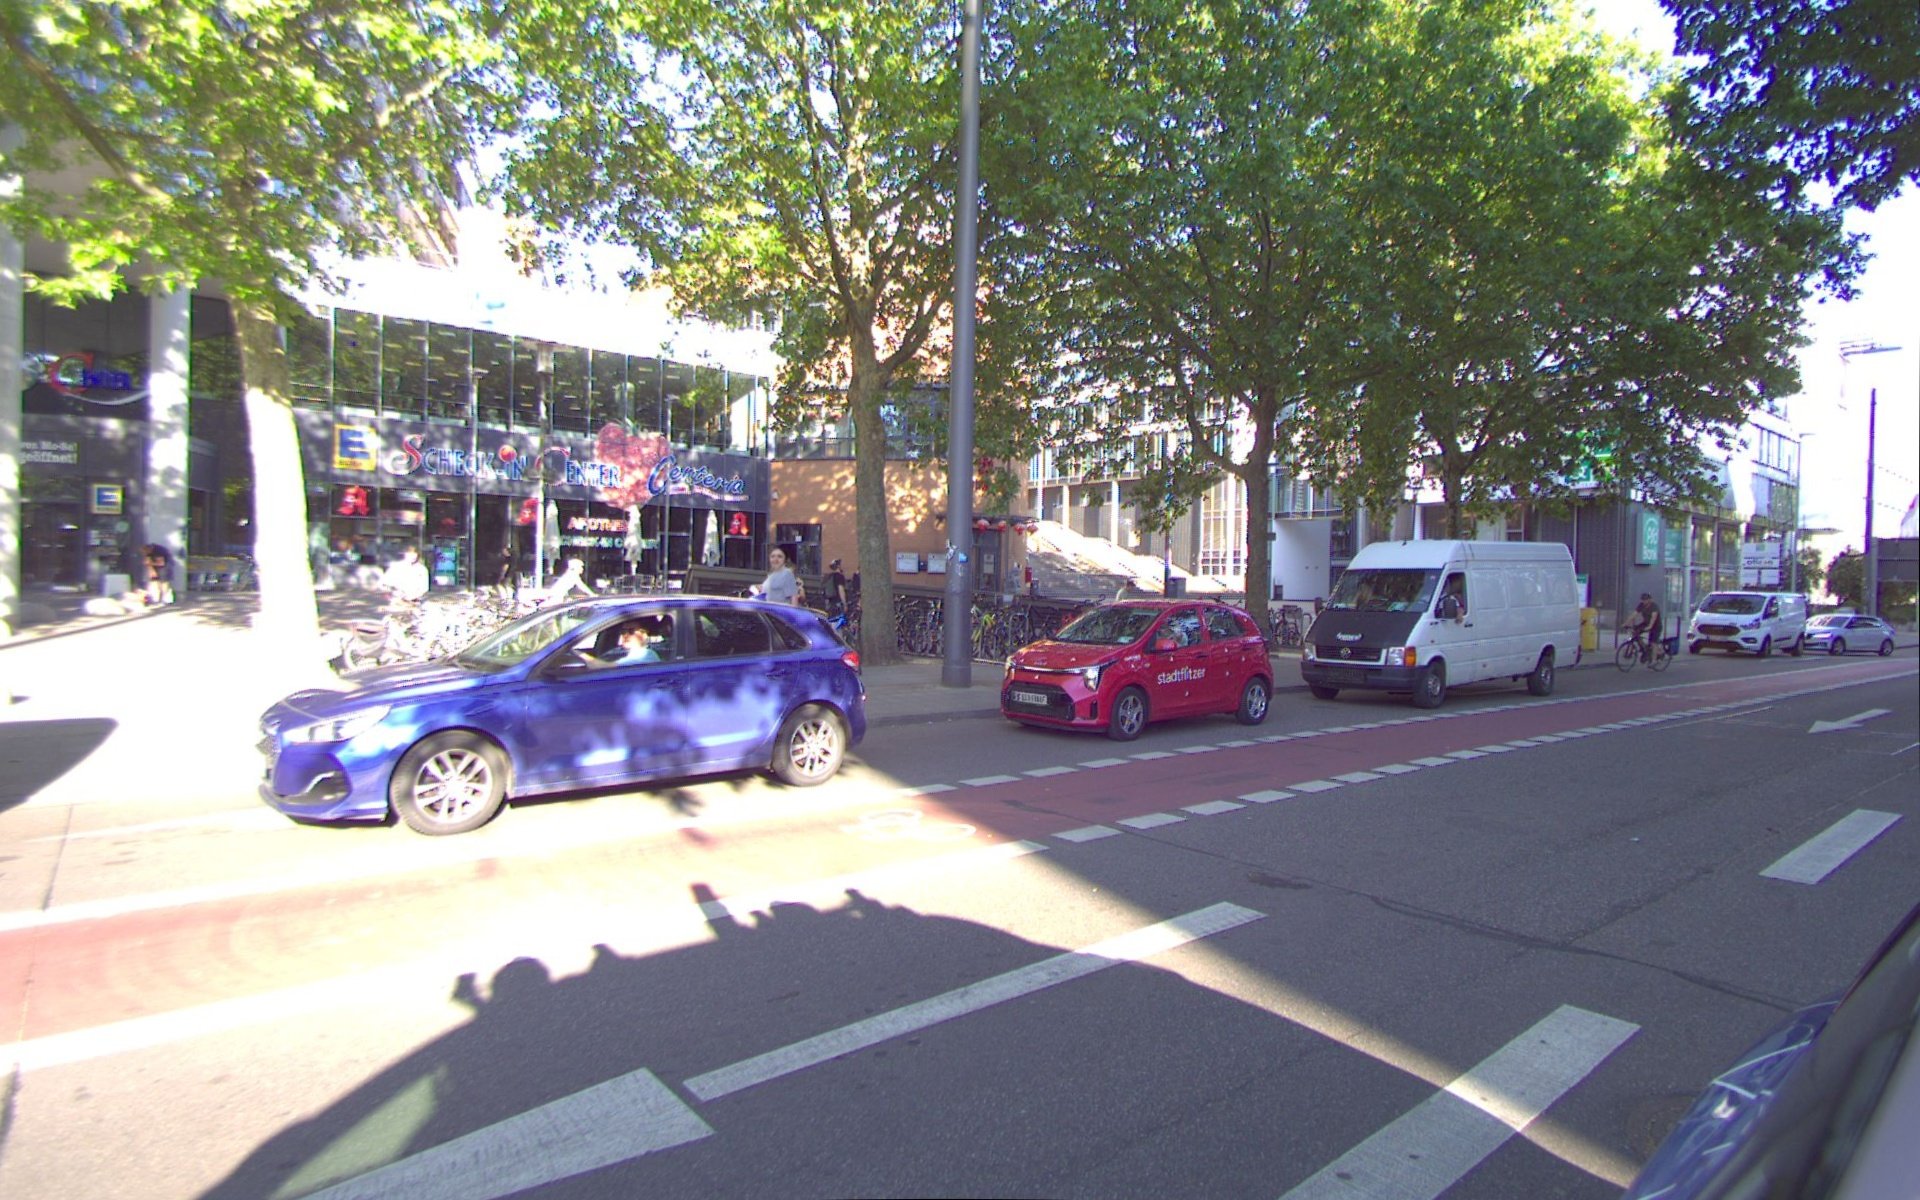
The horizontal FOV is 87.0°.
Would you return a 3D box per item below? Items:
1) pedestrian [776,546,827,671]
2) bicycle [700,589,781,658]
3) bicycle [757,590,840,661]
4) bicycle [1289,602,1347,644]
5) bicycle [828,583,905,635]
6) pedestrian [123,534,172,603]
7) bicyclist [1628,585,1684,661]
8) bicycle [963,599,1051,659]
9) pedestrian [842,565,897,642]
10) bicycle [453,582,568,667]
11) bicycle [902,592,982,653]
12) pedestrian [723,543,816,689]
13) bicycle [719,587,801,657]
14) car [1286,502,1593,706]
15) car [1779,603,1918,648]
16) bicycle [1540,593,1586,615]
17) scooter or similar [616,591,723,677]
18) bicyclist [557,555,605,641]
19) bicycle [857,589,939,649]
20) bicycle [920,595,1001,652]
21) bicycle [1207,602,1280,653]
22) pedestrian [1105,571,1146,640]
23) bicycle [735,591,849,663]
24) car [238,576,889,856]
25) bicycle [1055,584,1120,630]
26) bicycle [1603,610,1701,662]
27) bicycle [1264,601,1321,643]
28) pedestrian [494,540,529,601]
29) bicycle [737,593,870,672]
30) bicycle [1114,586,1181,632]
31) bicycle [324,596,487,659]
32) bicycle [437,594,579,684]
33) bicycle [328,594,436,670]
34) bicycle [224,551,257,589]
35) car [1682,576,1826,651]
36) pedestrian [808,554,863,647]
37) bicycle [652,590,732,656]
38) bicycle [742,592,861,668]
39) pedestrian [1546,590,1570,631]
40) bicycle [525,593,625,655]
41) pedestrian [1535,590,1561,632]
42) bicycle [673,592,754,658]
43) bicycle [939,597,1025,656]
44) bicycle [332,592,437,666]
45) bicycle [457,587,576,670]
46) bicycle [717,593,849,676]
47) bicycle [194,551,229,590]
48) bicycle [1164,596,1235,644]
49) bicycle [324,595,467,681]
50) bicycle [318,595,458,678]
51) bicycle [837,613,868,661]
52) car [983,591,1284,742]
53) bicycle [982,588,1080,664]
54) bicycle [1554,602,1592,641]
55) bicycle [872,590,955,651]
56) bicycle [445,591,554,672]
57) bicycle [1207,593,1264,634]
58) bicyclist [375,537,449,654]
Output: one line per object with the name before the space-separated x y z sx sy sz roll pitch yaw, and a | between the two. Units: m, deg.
pedestrian | -2.371 0.119 15.053 0.644 1.808 0.810 1 1 -14
bicycle | -3.929 0.408 18.186 0.420 1.174 1.455 2 1 41
bicycle | -2.810 0.420 17.698 0.478 1.174 1.455 2 1 41
bicycle | 9.312 0.583 26.317 1.624 1.060 0.597 0 1 -37
bicycle | -2.211 0.209 23.948 1.736 1.174 0.578 1 1 -35
pedestrian | -20.115 -0.778 25.057 0.851 1.661 0.966 1 1 -43
bicyclist | 16.193 0.524 23.564 0.700 1.709 0.754 1 1 -8
bicycle | 0.873 0.517 18.597 1.626 1.044 0.596 0 1 -41
pedestrian | -2.148 0.074 23.959 1.000 1.779 0.789 1 1 -35
bicycle | -6.494 0.337 14.666 1.451 1.174 0.421 0 1 -42
bicycle | -0.337 0.433 20.061 1.626 1.151 0.503 0 1 -41
pedestrian | -2.487 0.185 13.197 0.872 1.808 0.796 2 1 43
bicycle | -3.518 0.374 17.886 0.420 1.174 1.455 2 1 41
car | 8.024 0.057 16.537 6.443 2.759 1.998 0 0 -39
car | 30.995 0.900 35.322 3.936 1.437 1.791 1 1 -17
bicycle | 30.930 0.195 51.932 0.687 1.076 1.879 1 2 -38
scooter or similar | -4.213 0.484 14.676 1.249 1.156 0.905 -2 0 37
bicyclist | -7.332 -0.039 19.553 0.804 1.636 0.565 1 1 -25
bicycle | -1.255 0.371 20.623 1.662 1.174 0.479 1 1 -37
bicycle | 0.024 0.445 19.611 1.626 1.044 0.503 0 1 -41
bicycle | 6.256 0.595 22.337 1.622 1.060 0.598 1 1 -32
pedestrian | 4.043 0.127 24.737 0.623 1.651 0.719 1 1 -34
bicycle | -2.752 0.437 16.539 1.788 1.130 0.610 1 1 -13
car | -2.724 0.616 7.502 4.143 1.482 1.768 0 2 -41
bicycle | 3.287 0.183 26.057 1.622 1.140 0.598 1 1 -32
bicycle | 16.075 0.838 23.519 2.082 1.135 0.552 1 1 -11
bicycle | 8.863 0.565 26.930 1.624 1.060 0.597 0 1 -37
pedestrian | -14.277 -0.938 32.218 0.834 1.867 1.002 1 1 -15
bicycle | -2.356 0.483 15.164 1.908 1.130 0.598 1 1 -13
bicycle | 4.509 0.214 24.292 1.623 1.060 0.597 1 1 -35
bicycle | -8.725 0.432 16.003 2.138 0.945 0.669 1 1 -13
bicycle | -5.742 0.476 12.884 1.542 1.070 0.630 1 1 -35
bicycle | -8.209 0.446 14.416 1.293 1.038 0.397 1 1 -24
bicycle | -22.145 -0.928 31.165 0.705 1.142 1.921 1 1 -33
car | 24.992 0.385 31.807 5.189 2.160 2.130 0 1 -35
pedestrian | -2.462 -0.008 19.943 0.756 1.779 0.820 1 1 -35
bicycle | -5.013 0.416 19.019 0.420 1.174 1.455 2 1 41
bicycle | -2.485 0.462 15.852 1.788 1.130 0.598 1 1 -13
pedestrian | 22.998 0.396 38.895 0.623 1.541 0.517 1 1 -31
bicycle | -7.421 0.462 19.521 1.741 1.140 0.569 1 1 -25
pedestrian | 22.370 0.405 38.503 0.625 1.562 0.579 1 1 -31
bicycle | -4.511 0.440 18.601 0.420 1.174 1.455 2 1 41
bicycle | 0.425 0.486 19.113 1.626 1.044 0.596 0 1 -41
bicycle | -8.425 0.416 14.860 1.293 1.038 0.397 1 1 -24
bicycle | -6.186 0.379 14.151 1.451 1.095 0.421 0 1 -42
bicycle | -2.515 0.489 14.389 1.788 1.130 0.598 1 1 -13
bicycle | -22.744 -0.893 30.768 0.705 1.142 1.921 1 1 -33
bicycle | 5.531 0.453 23.330 1.622 1.060 0.598 1 1 -32
bicycle | -7.273 0.469 13.083 1.546 1.038 0.461 0 1 -44
bicycle | -7.595 0.458 13.485 1.546 1.038 0.461 0 1 -44
bicycle | -1.865 0.629 17.550 0.391 0.770 1.114 1 1 -13
car | 2.100 0.653 11.751 3.558 1.482 1.561 0 0 -41
bicycle | 1.286 0.446 18.095 1.843 1.280 0.596 0 1 -41
bicycle | 19.334 0.670 31.917 1.511 1.173 0.514 1 1 -39
bicycle | -0.912 0.395 20.191 1.662 1.174 0.479 1 1 -37
bicycle | -6.997 0.461 15.411 1.450 1.174 0.421 0 1 -40
bicycle | 7.508 0.353 27.561 1.624 1.060 0.597 0 1 -37
bicyclist | -8.651 -0.071 16.010 0.834 1.789 0.754 1 1 -13
